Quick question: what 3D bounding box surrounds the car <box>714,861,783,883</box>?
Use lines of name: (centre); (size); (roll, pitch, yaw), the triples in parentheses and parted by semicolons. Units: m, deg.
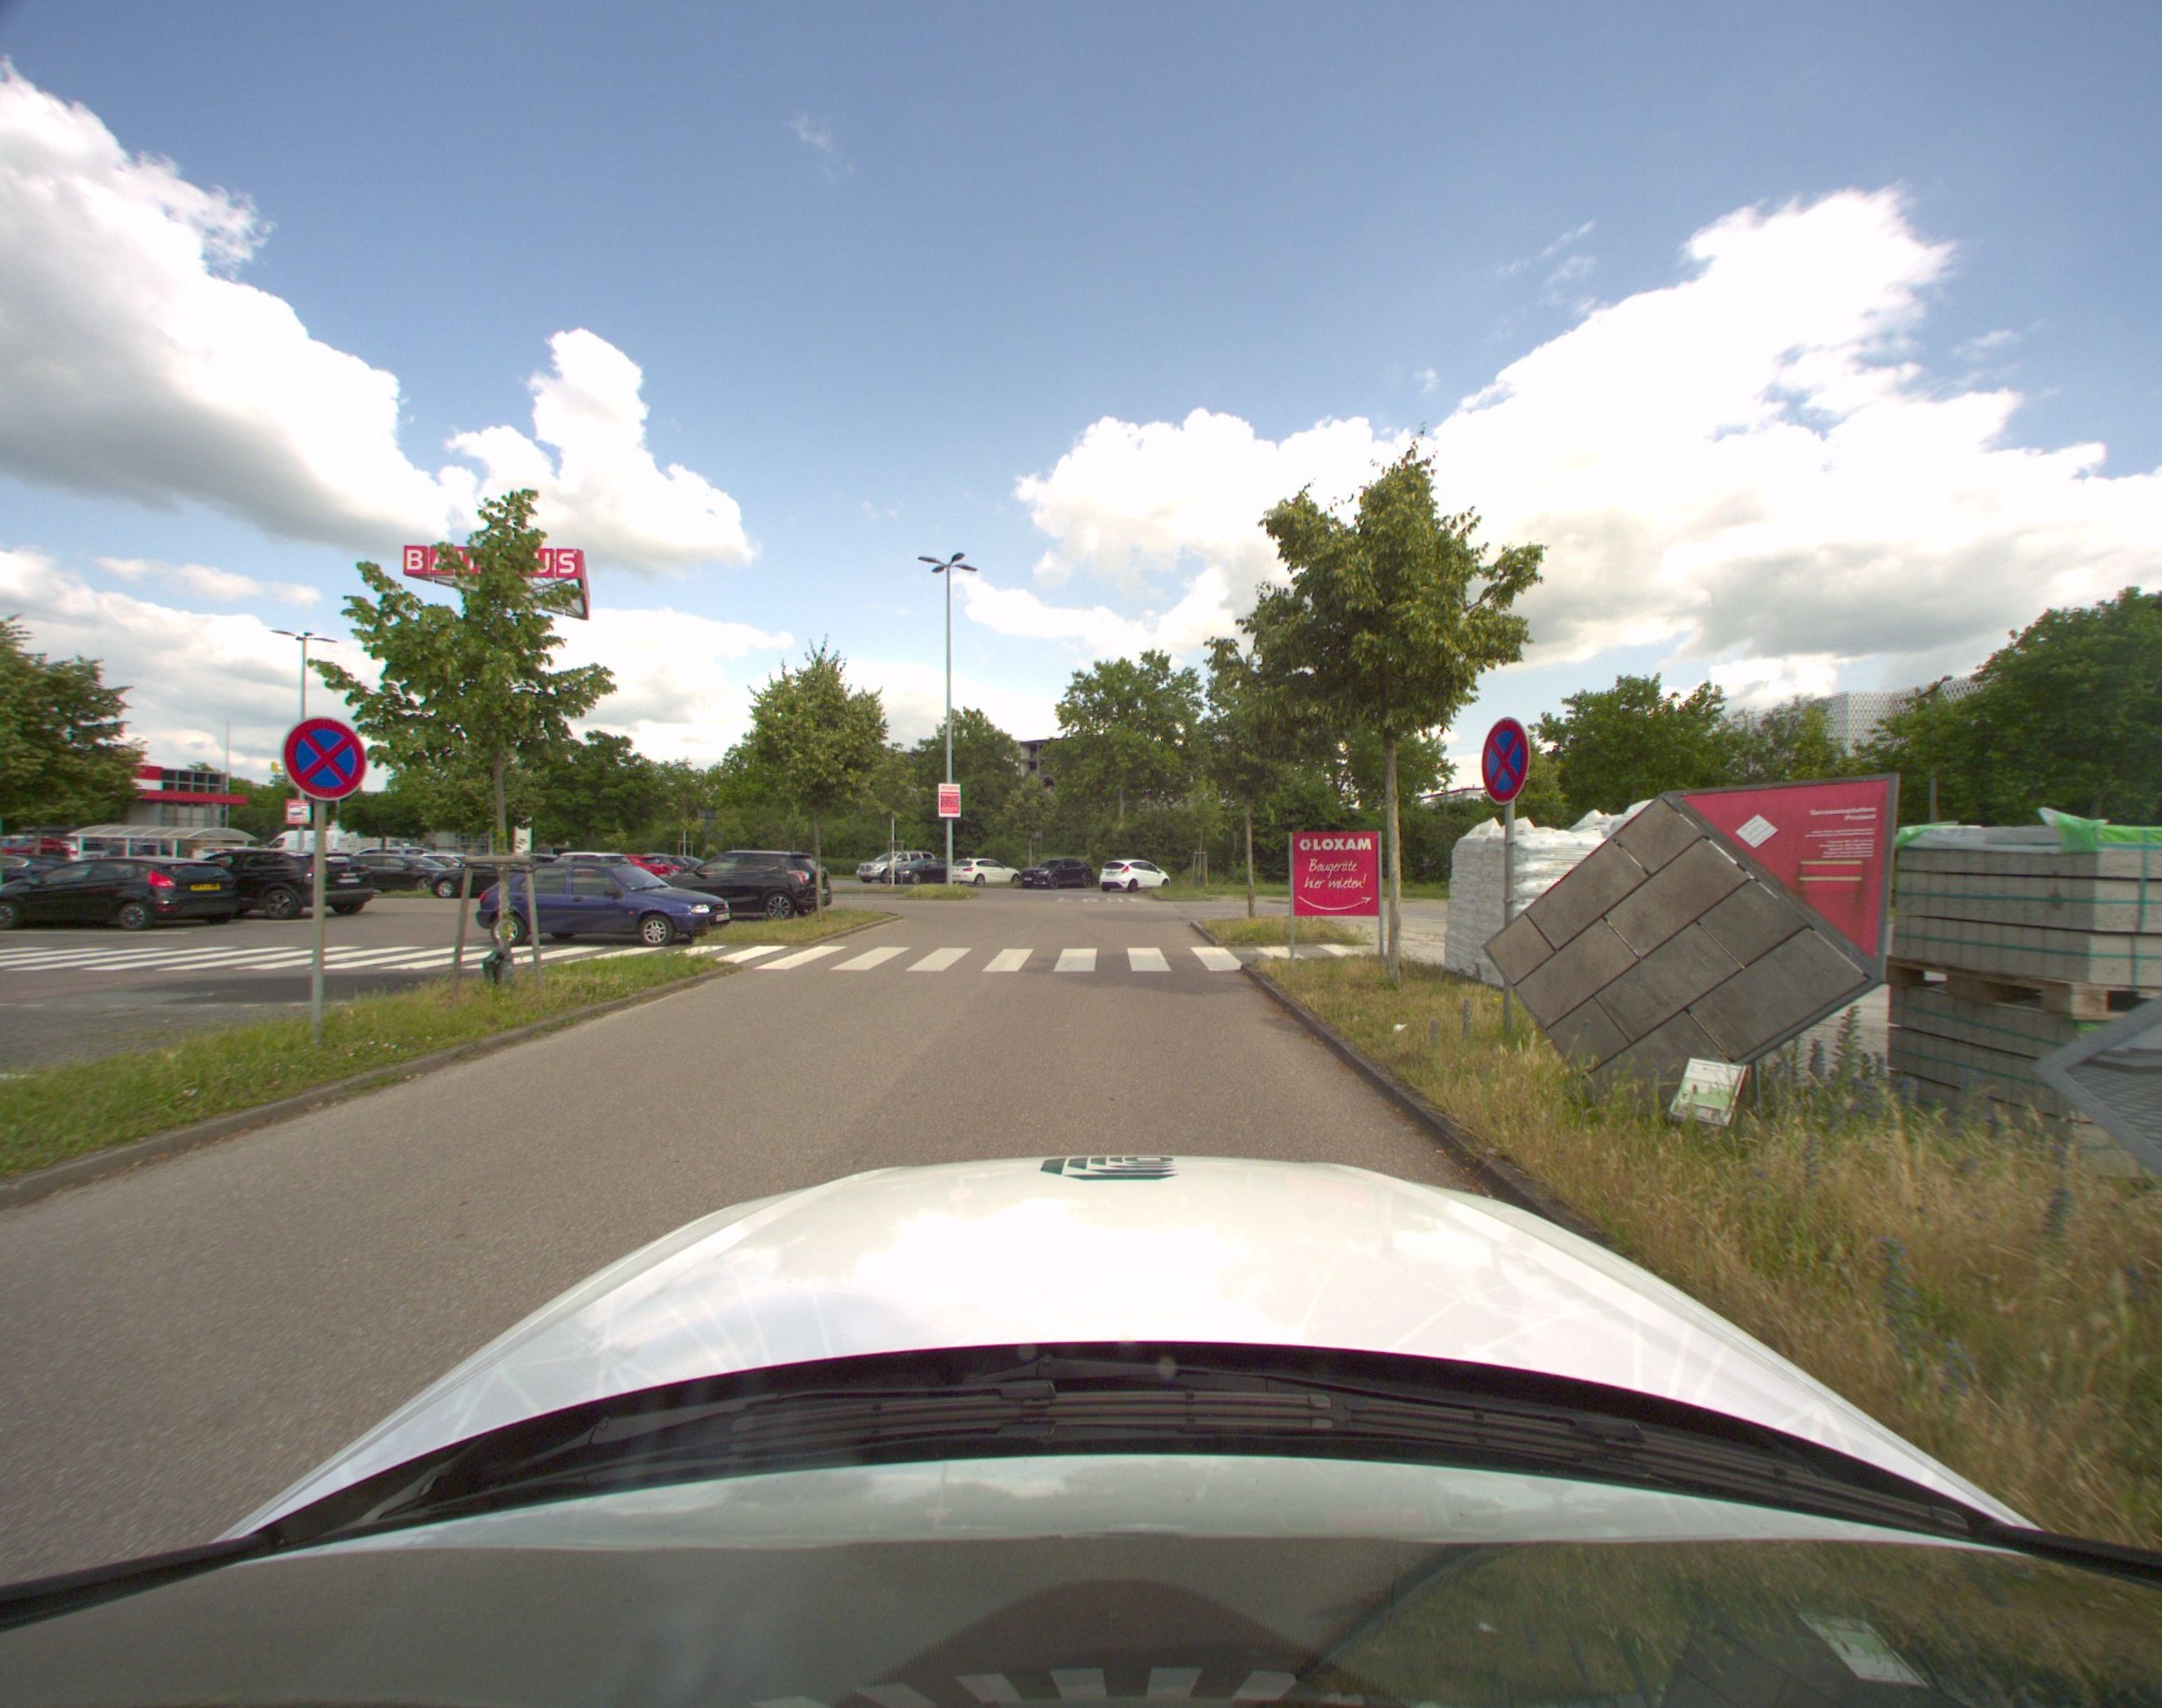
car: (-22.517, 1.186, 55.225); (1.677, 1.381, 4.025); (-2, -1, 35)

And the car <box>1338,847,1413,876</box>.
car: (18.141, 0.461, 50.196); (3.948, 1.715, 2.013); (0, 0, 34)

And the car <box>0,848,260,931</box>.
car: (-19.811, 0.697, 16.848); (3.687, 1.624, 1.781); (0, 0, -4)

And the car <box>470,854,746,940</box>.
car: (-7.935, 0.683, 13.897); (3.737, 1.368, 1.622); (0, 0, 1)

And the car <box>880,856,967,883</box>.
car: (-8.774, 0.840, 45.710); (1.816, 1.451, 4.755); (0, 0, 37)

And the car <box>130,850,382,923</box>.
car: (-19.337, 0.725, 19.220); (4.058, 1.624, 1.783); (0, 0, -1)

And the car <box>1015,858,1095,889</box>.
car: (-1.214, 0.904, 40.134); (1.711, 1.410, 4.270); (0, 0, 36)

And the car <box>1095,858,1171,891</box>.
car: (2.404, 0.915, 37.152); (1.649, 1.411, 3.579); (0, 0, 41)

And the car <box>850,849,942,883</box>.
car: (-10.630, 0.666, 47.213); (1.965, 1.842, 5.180); (0, 0, 35)

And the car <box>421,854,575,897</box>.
car: (-19.497, 0.703, 27.350); (3.861, 1.369, 1.728); (0, 0, -2)

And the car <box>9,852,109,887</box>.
car: (-53.122, 0.784, 42.365); (3.146, 1.743, 1.602); (0, 1, 0)

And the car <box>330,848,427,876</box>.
car: (-41.501, 0.465, 48.176); (3.974, 1.596, 1.910); (0, 0, -1)

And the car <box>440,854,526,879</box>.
car: (-35.640, 0.756, 48.602); (3.752, 1.446, 1.724); (0, 0, -3)

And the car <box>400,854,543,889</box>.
car: (-24.399, 0.690, 32.715); (4.255, 1.353, 1.893); (0, 0, -2)

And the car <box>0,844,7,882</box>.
car: (-52.881, 0.434, 37.520); (3.976, 1.778, 1.999); (0, 0, -2)

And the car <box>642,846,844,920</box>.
car: (-7.776, 0.642, 18.946); (3.933, 1.624, 1.737); (0, 0, 3)

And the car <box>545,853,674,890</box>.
car: (-18.746, 0.687, 32.490); (4.062, 1.399, 1.766); (0, 0, -1)

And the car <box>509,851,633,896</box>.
car: (-18.651, 0.706, 29.907); (3.425, 1.581, 1.709); (0, 0, -1)

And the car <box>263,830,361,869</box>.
car: (-52.856, -0.294, 56.028); (4.696, 2.510, 2.053); (1, -1, 1)

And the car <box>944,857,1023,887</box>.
car: (-5.054, 0.902, 42.730); (1.668, 1.509, 4.107); (-1, -1, 39)
